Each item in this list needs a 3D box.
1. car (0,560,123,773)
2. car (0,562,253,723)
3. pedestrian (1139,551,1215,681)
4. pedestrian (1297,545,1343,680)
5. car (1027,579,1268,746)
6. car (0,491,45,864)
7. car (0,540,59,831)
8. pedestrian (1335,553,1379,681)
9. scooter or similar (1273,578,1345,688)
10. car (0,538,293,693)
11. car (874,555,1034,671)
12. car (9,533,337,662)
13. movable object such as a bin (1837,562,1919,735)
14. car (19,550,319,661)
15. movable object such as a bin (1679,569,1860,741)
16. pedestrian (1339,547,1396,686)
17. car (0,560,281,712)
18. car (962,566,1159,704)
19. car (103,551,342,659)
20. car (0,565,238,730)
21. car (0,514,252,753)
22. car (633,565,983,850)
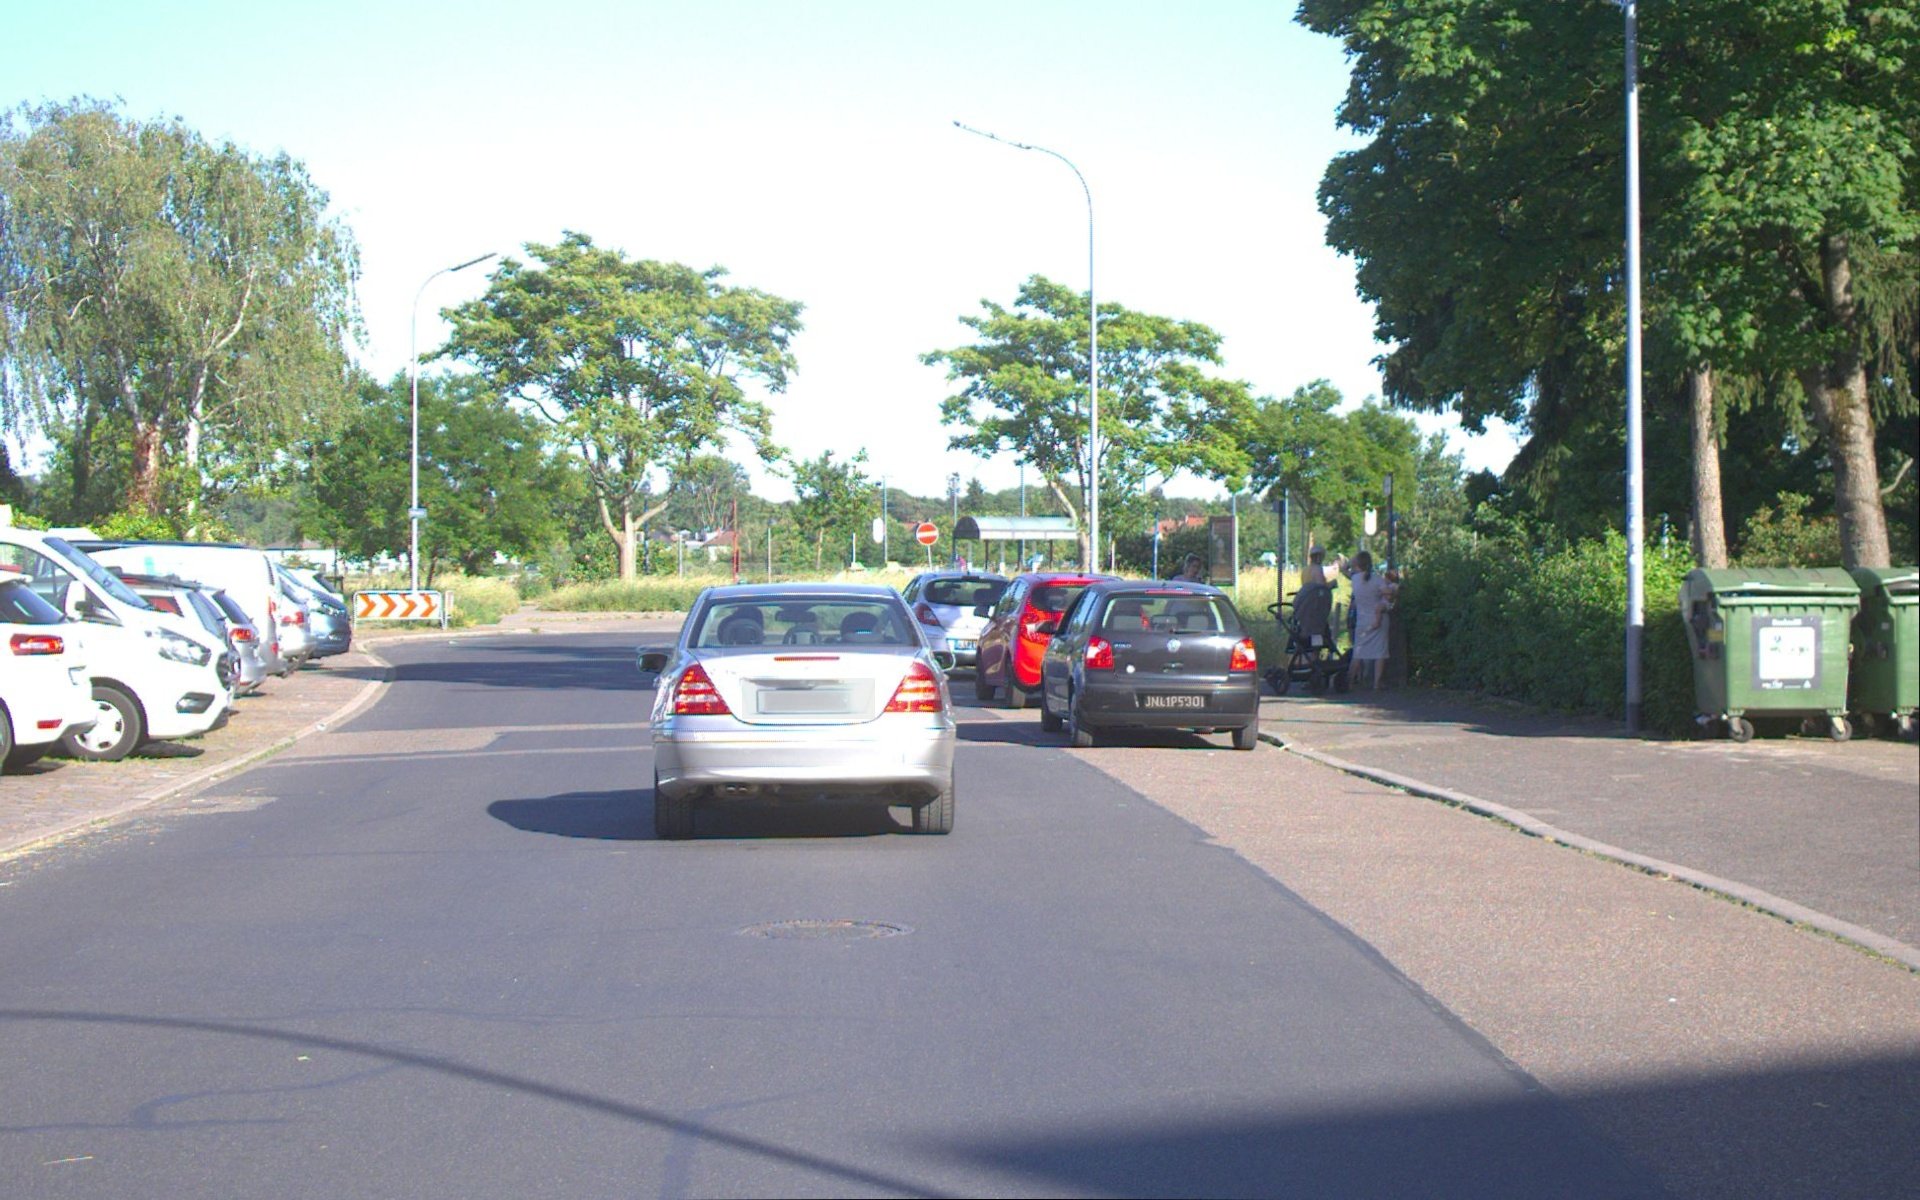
[{"bbox_3d":[-8.719,0.435,26.645,3.986,1.577,1.884,2,0,-2],"label":"car"},{"bbox_3d":[-8.982,0.397,34.592,3.513,1.484,1.637,2,1,-8],"label":"car"},{"bbox_3d":[2.668,0.194,42.250,0.787,1.559,0.570,2,0,-6],"label":"pedestrian"},{"bbox_3d":[4.205,0.152,40.225,0.481,1.559,0.597,-1,-1,5],"label":"pedestrian"},{"bbox_3d":[1.628,0.529,31.042,1.647,1.398,3.882,0,0,-5],"label":"car"},{"bbox_3d":[-7.277,0.331,17.867,4.478,1.970,2.000,2,0,-2],"label":"car"},{"bbox_3d":[-7.675,0.424,20.368,4.151,1.700,1.884,2,0,-2],"label":"car"},{"bbox_3d":[4.693,0.200,40.688,0.361,1.498,0.501,-1,-1,-8],"label":"pedestrian"},{"bbox_3d":[3.968,0.372,39.142,0.622,1.223,0.905,-1,0,-6],"label":"scooter or similar"},{"bbox_3d":[-10.194,0.174,41.860,3.976,1.774,1.926,1,1,-9],"label":"car"},{"bbox_3d":[-0.127,0.178,48.379,1.731,1.538,3.789,1,0,-8],"label":"car"},{"bbox_3d":[-12.211,-0.033,53.632,4.870,1.909,2.000,1,0,-10],"label":"car"},{"bbox_3d":[8.078,0.401,28.599,1.274,1.411,0.951,0,0,-4],"label":"movable object such as a bin"},{"bbox_3d":[-11.695,0.081,51.070,4.136,1.487,1.926,2,0,-7],"label":"car"},{"bbox_3d":[6.703,0.451,28.516,1.237,1.398,0.915,0,0,-4],"label":"movable object such as a bin"},{"bbox_3d":[4.633,0.188,39.093,0.485,1.559,0.469,-1,-1,-9],"label":"pedestrian"},{"bbox_3d":[-9.164,0.361,36.692,3.513,1.484,1.637,2,0,-3],"label":"car"},{"bbox_3d":[1.073,0.372,38.478,1.575,1.441,3.789,1,0,-8],"label":"car"},{"bbox_3d":[-12.052,0.081,56.339,3.611,1.601,1.733,2,0,-6],"label":"car"},{"bbox_3d":[-8.714,0.409,32.326,3.513,1.441,1.637,2,0,-3],"label":"car"},{"bbox_3d":[-8.651,0.220,29.439,4.788,1.914,2.082,2,0,-5],"label":"car"},{"bbox_3d":[-1.012,0.553,20.456,1.816,1.458,4.362,1,1,-6],"label":"car"}]
